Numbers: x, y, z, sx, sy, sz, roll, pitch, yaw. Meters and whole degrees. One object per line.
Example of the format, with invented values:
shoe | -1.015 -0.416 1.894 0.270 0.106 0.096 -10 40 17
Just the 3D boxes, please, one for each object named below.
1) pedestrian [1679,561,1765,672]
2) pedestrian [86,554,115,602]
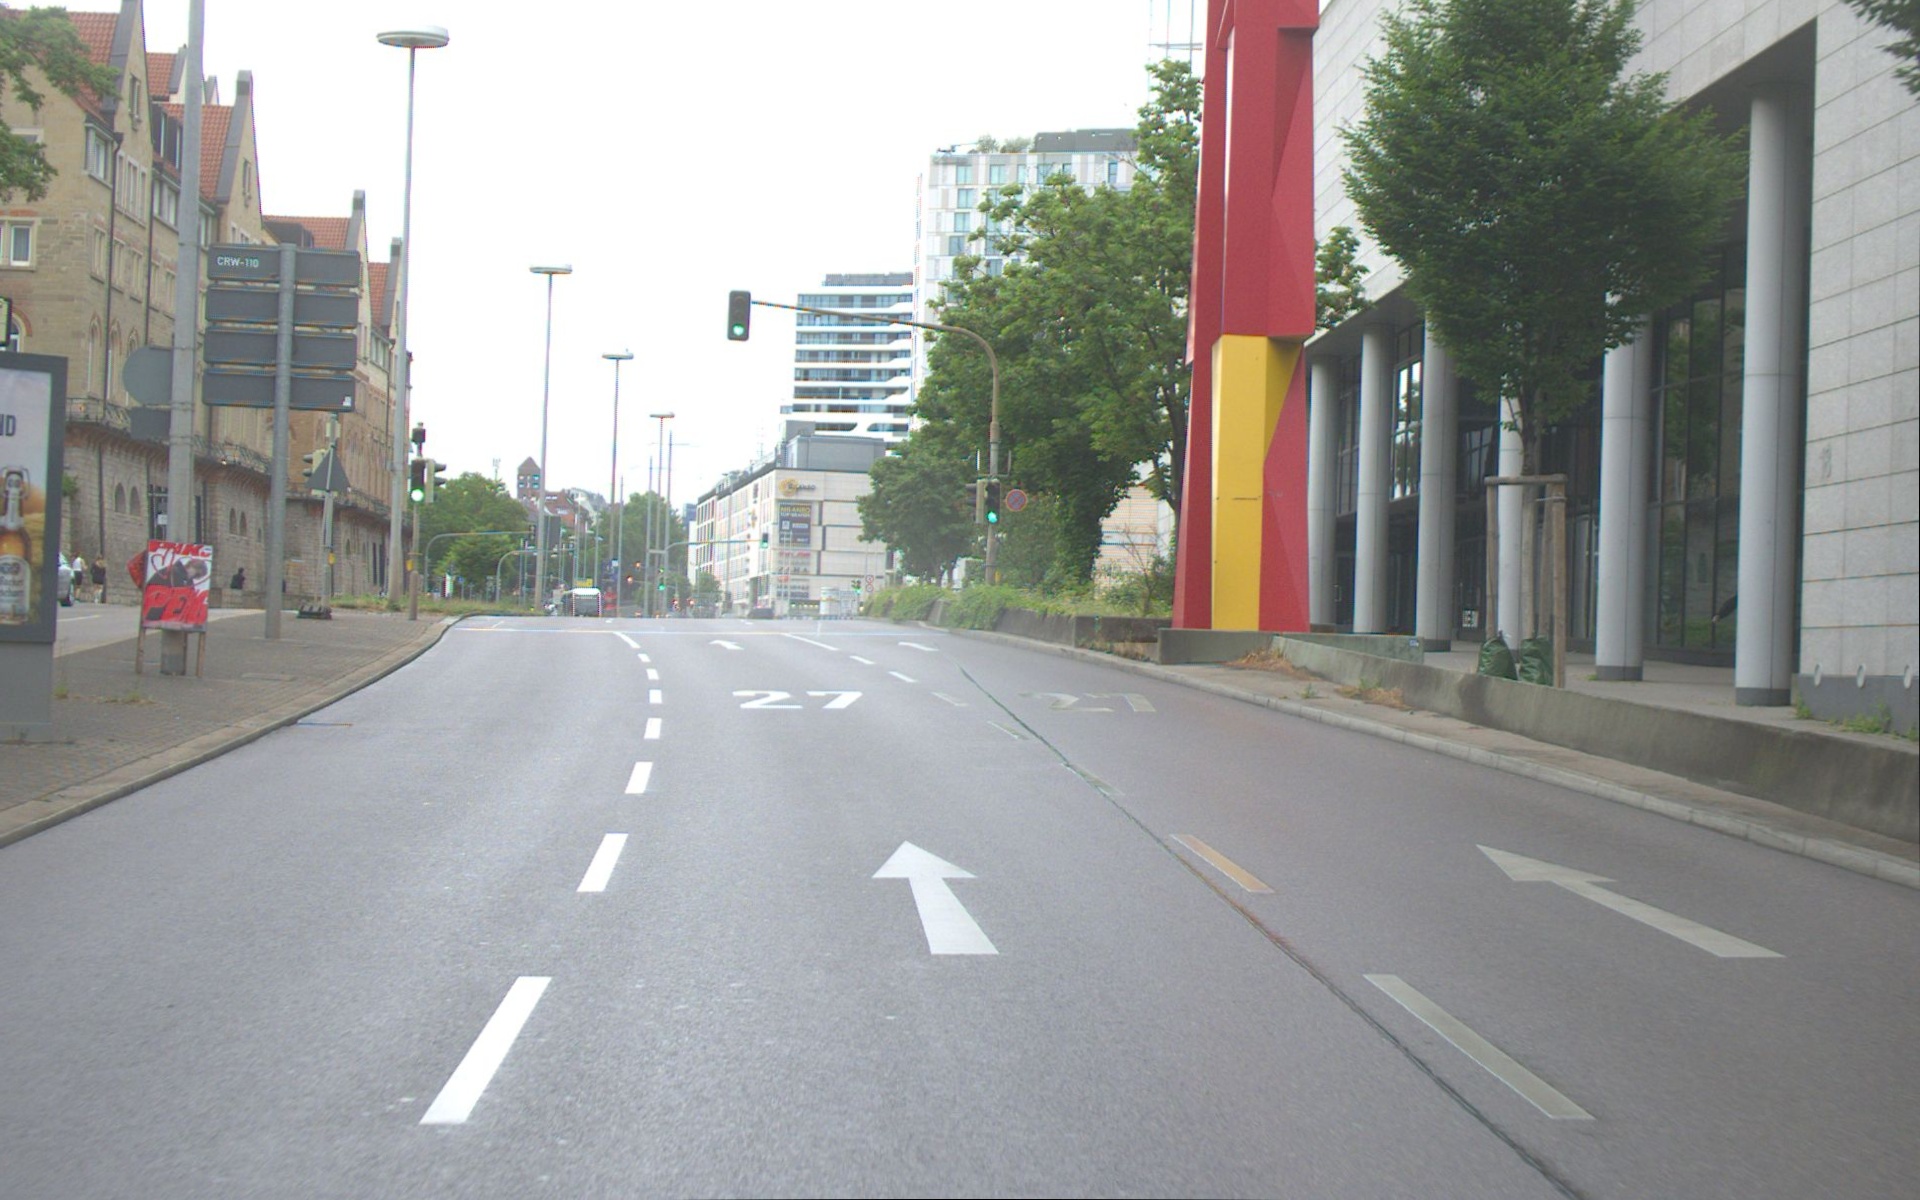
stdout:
pedestrian | 10.969 0.229 49.499 0.970 1.581 0.842 1 1 -6
pedestrian | -26.950 -0.696 107.812 0.754 1.473 0.714 1 1 -3
